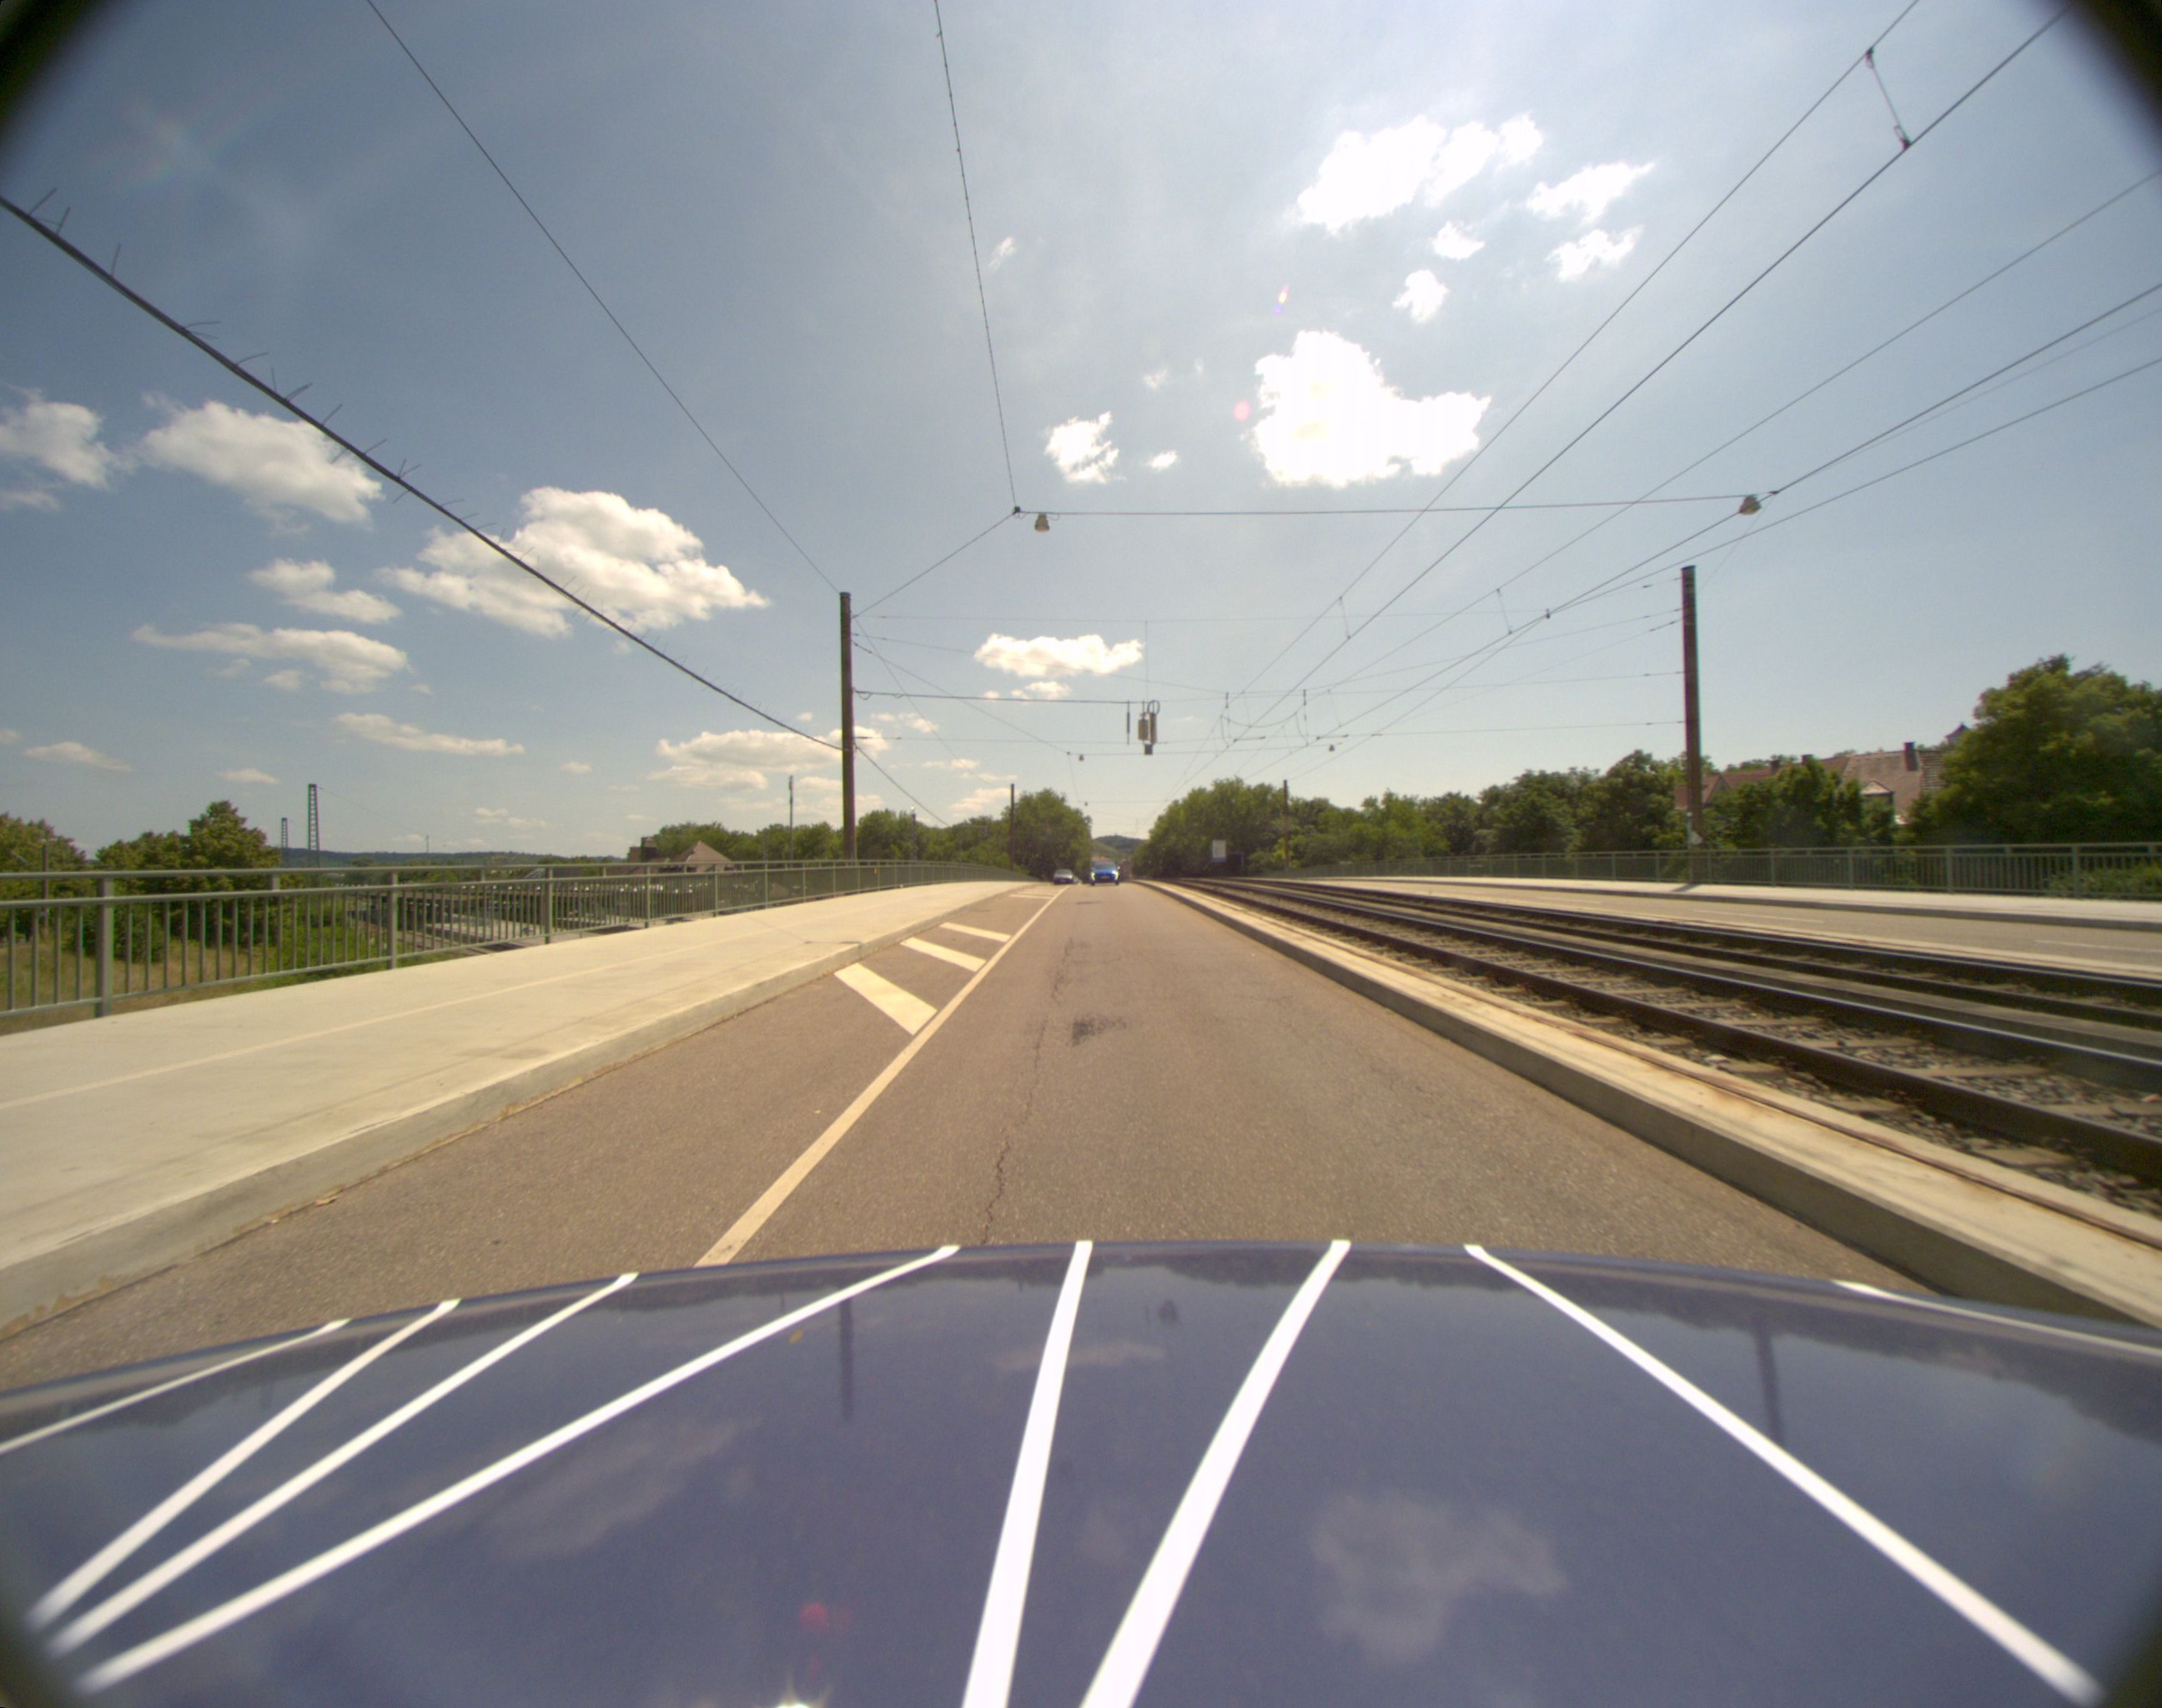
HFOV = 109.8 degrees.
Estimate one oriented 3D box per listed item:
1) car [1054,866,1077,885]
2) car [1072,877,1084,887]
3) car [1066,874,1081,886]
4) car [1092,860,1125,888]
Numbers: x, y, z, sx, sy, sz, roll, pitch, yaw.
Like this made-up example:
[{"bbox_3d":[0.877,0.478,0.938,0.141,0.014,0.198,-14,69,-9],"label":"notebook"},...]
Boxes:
[{"bbox_3d":[-1.402,2.029,69.741,1.999,1.542,4.723,-2,-3,-1],"label":"car"},{"bbox_3d":[-0.483,4.307,115.947,1.759,1.381,3.701,-1,-3,1],"label":"car"},{"bbox_3d":[-0.965,3.234,93.558,1.689,1.350,4.595,-2,-3,-1],"label":"car"},{"bbox_3d":[1.749,1.258,46.828,1.864,1.629,4.003,-2,-2,3],"label":"car"}]
